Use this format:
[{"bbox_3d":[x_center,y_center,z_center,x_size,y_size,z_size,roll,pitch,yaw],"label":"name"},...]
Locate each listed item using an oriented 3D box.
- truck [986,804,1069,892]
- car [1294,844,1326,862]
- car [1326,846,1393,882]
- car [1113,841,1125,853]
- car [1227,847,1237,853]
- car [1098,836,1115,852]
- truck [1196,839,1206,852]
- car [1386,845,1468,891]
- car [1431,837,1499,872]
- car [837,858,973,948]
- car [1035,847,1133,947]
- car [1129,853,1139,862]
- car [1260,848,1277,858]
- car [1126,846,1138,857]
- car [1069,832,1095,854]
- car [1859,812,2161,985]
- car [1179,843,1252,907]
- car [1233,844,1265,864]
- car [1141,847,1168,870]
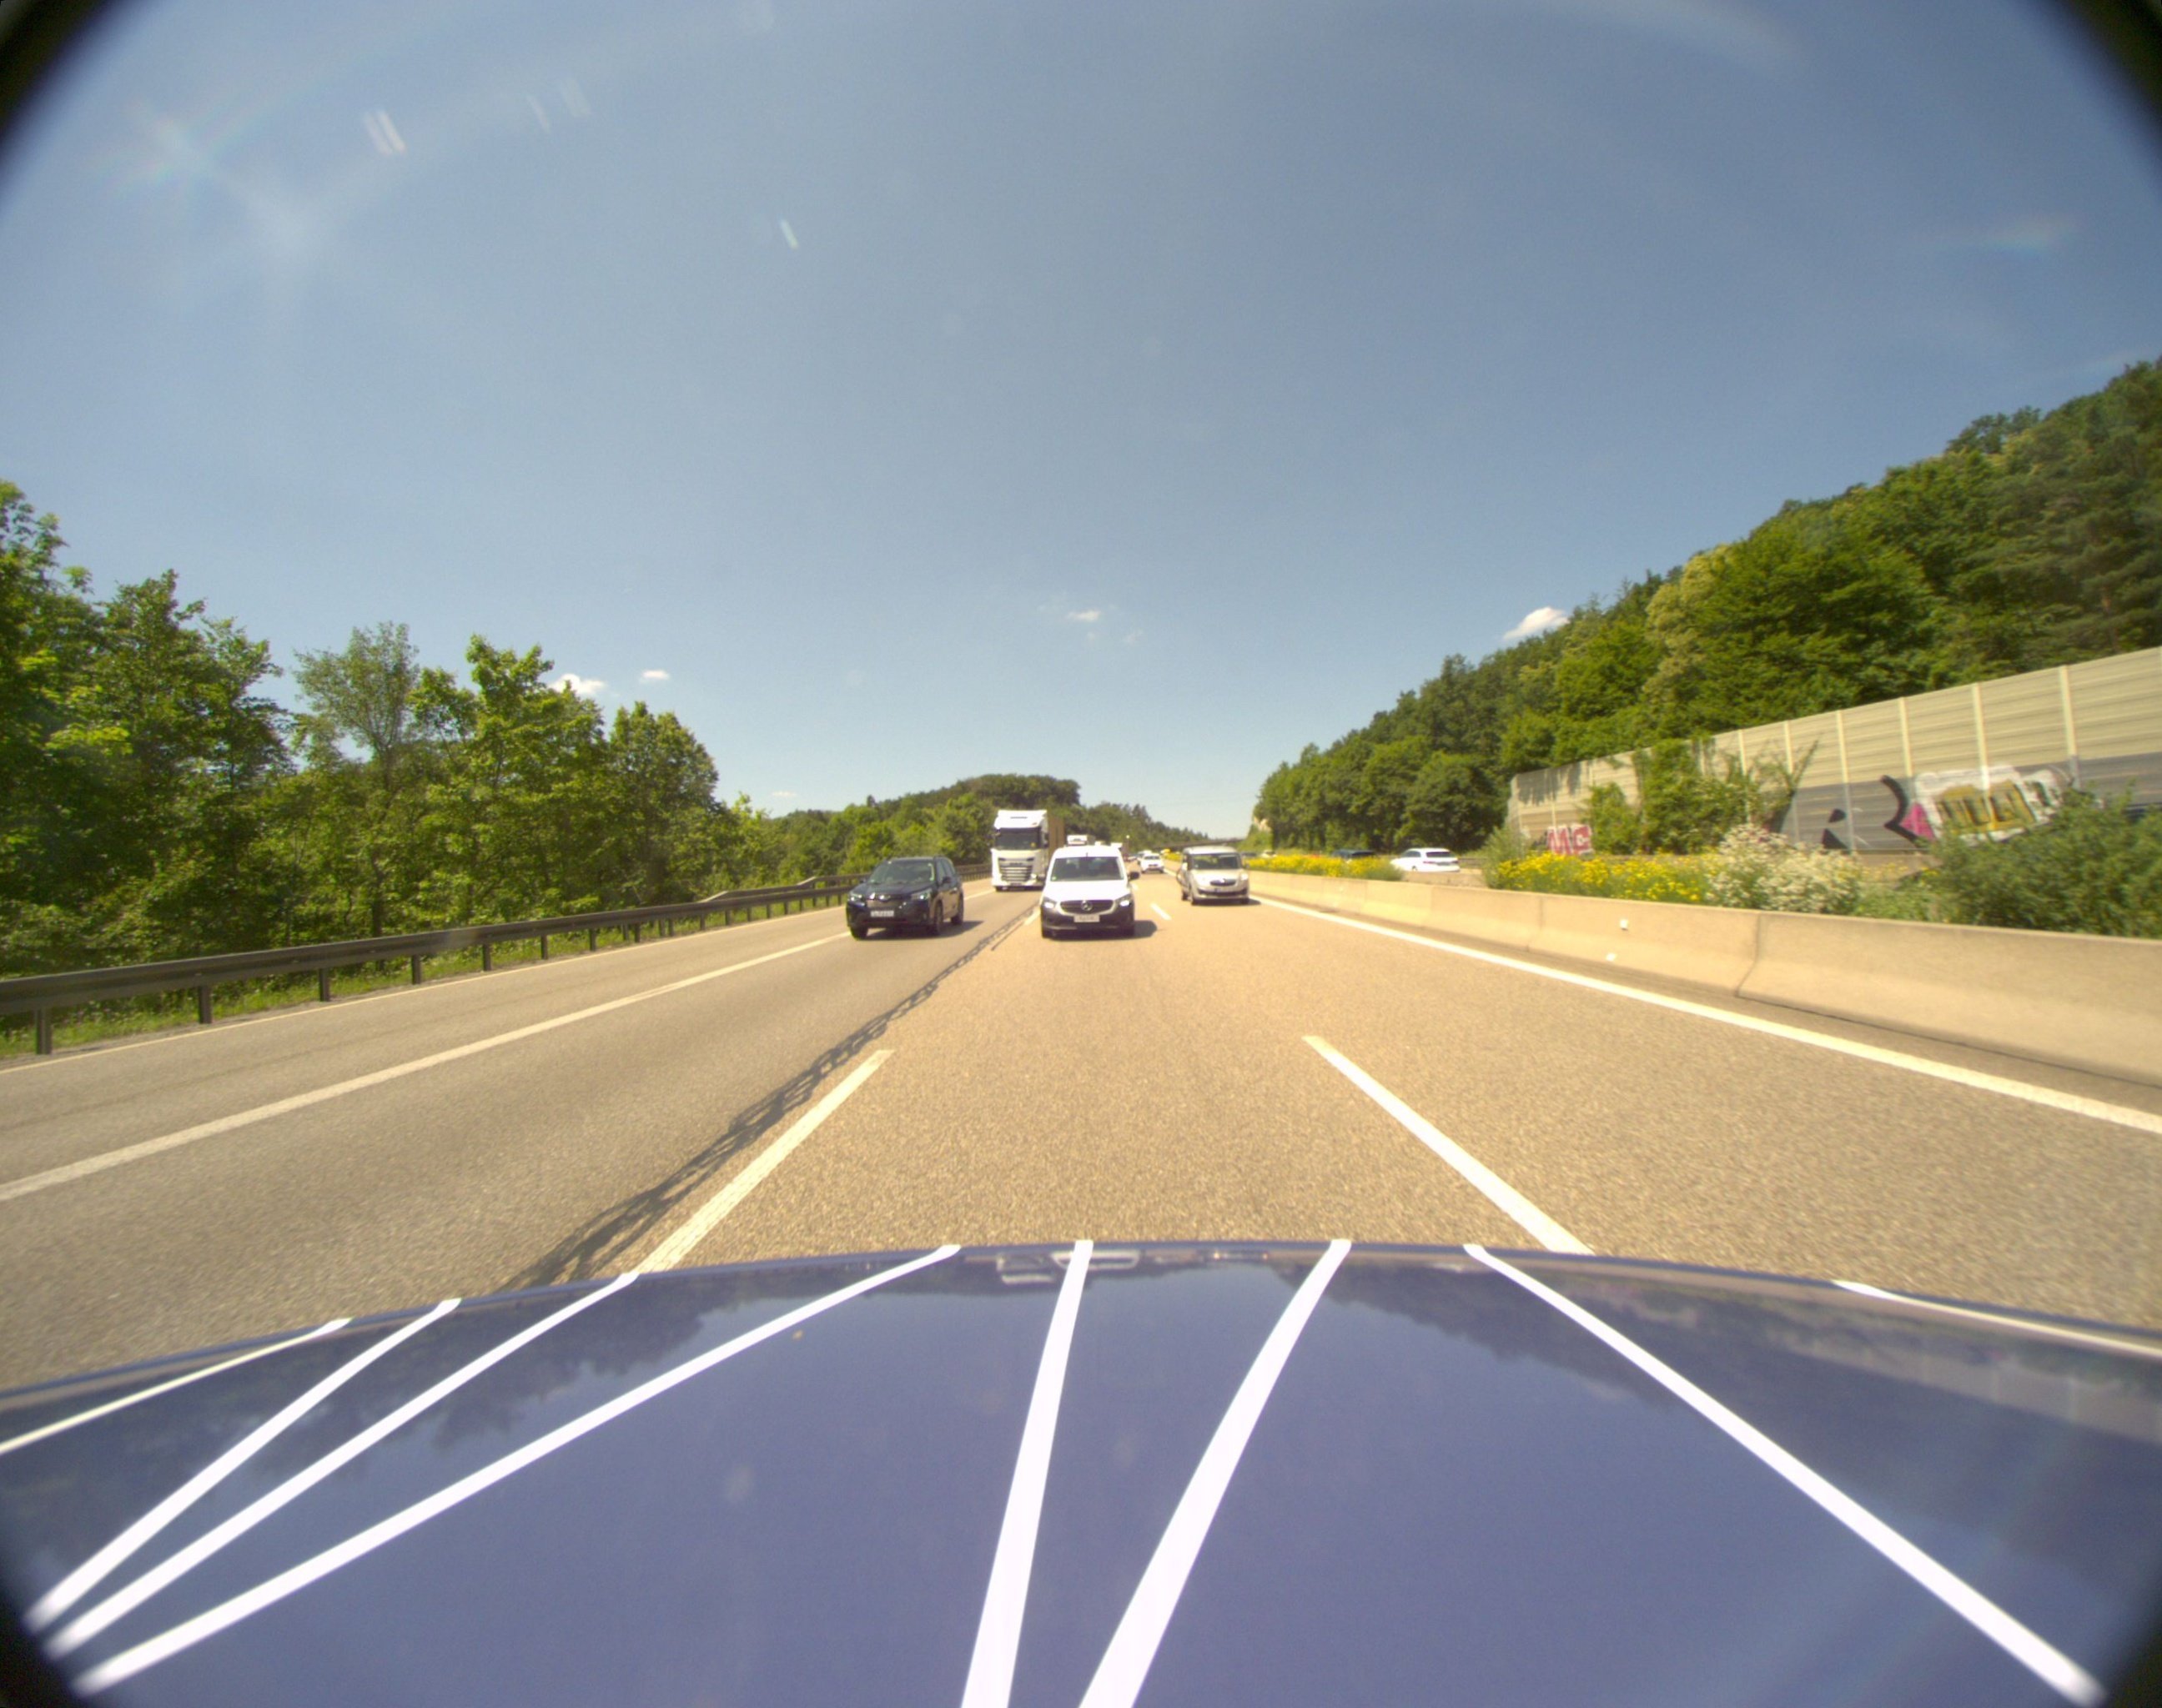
[{"bbox_3d":[-2.683,-0.409,44.382,2.789,4.145,16.268,-1,1,3],"label":"truck"},{"bbox_3d":[21.465,-0.103,71.338,1.743,1.630,4.188,-2,0,2],"label":"car"},{"bbox_3d":[12.211,0.417,33.554,1.620,1.459,3.753,-2,0,1],"label":"car"},{"bbox_3d":[8.765,-1.622,176.681,2.721,2.534,5.941,-2,1,2],"label":"car"},{"bbox_3d":[37.336,-0.992,188.183,1.731,1.625,4.001,-2,0,3],"label":"car"},{"bbox_3d":[4.275,-1.648,127.662,2.721,2.534,5.941,-2,1,2],"label":"car"},{"bbox_3d":[34.139,-2.394,216.710,1.998,3.485,6.027,-2,0,3],"label":"truck"},{"bbox_3d":[15.904,0.581,35.170,1.742,1.911,4.504,-2,1,1],"label":"car"},{"bbox_3d":[22.400,0.023,44.550,1.742,1.911,4.504,-2,1,1],"label":"car"},{"bbox_3d":[-3.768,0.985,17.078,1.816,1.658,4.204,-2,1,3],"label":"car"},{"bbox_3d":[0.171,0.772,16.011,1.729,1.760,4.313,-2,1,3],"label":"car"},{"bbox_3d":[12.139,0.763,173.176,1.998,2.002,4.000,-2,0,2],"label":"car"},{"bbox_3d":[27.661,-0.143,112.320,1.634,1.474,4.313,-2,0,3],"label":"car"},{"bbox_3d":[9.241,-0.463,137.396,1.902,2.002,4.000,-2,0,1],"label":"car"},{"bbox_3d":[0.162,-1.330,90.829,2.721,2.534,5.941,-2,1,2],"label":"car"},{"bbox_3d":[11.421,0.409,8.008,1.688,1.688,4.658,-2,0,1],"label":"car"},{"bbox_3d":[4.223,0.624,24.342,1.780,1.833,4.001,-2,0,3],"label":"car"},{"bbox_3d":[13.764,0.007,62.424,1.751,1.568,4.714,-2,0,2],"label":"car"},{"bbox_3d":[6.210,0.398,64.483,1.998,1.827,4.000,-2,0,3],"label":"car"}]
